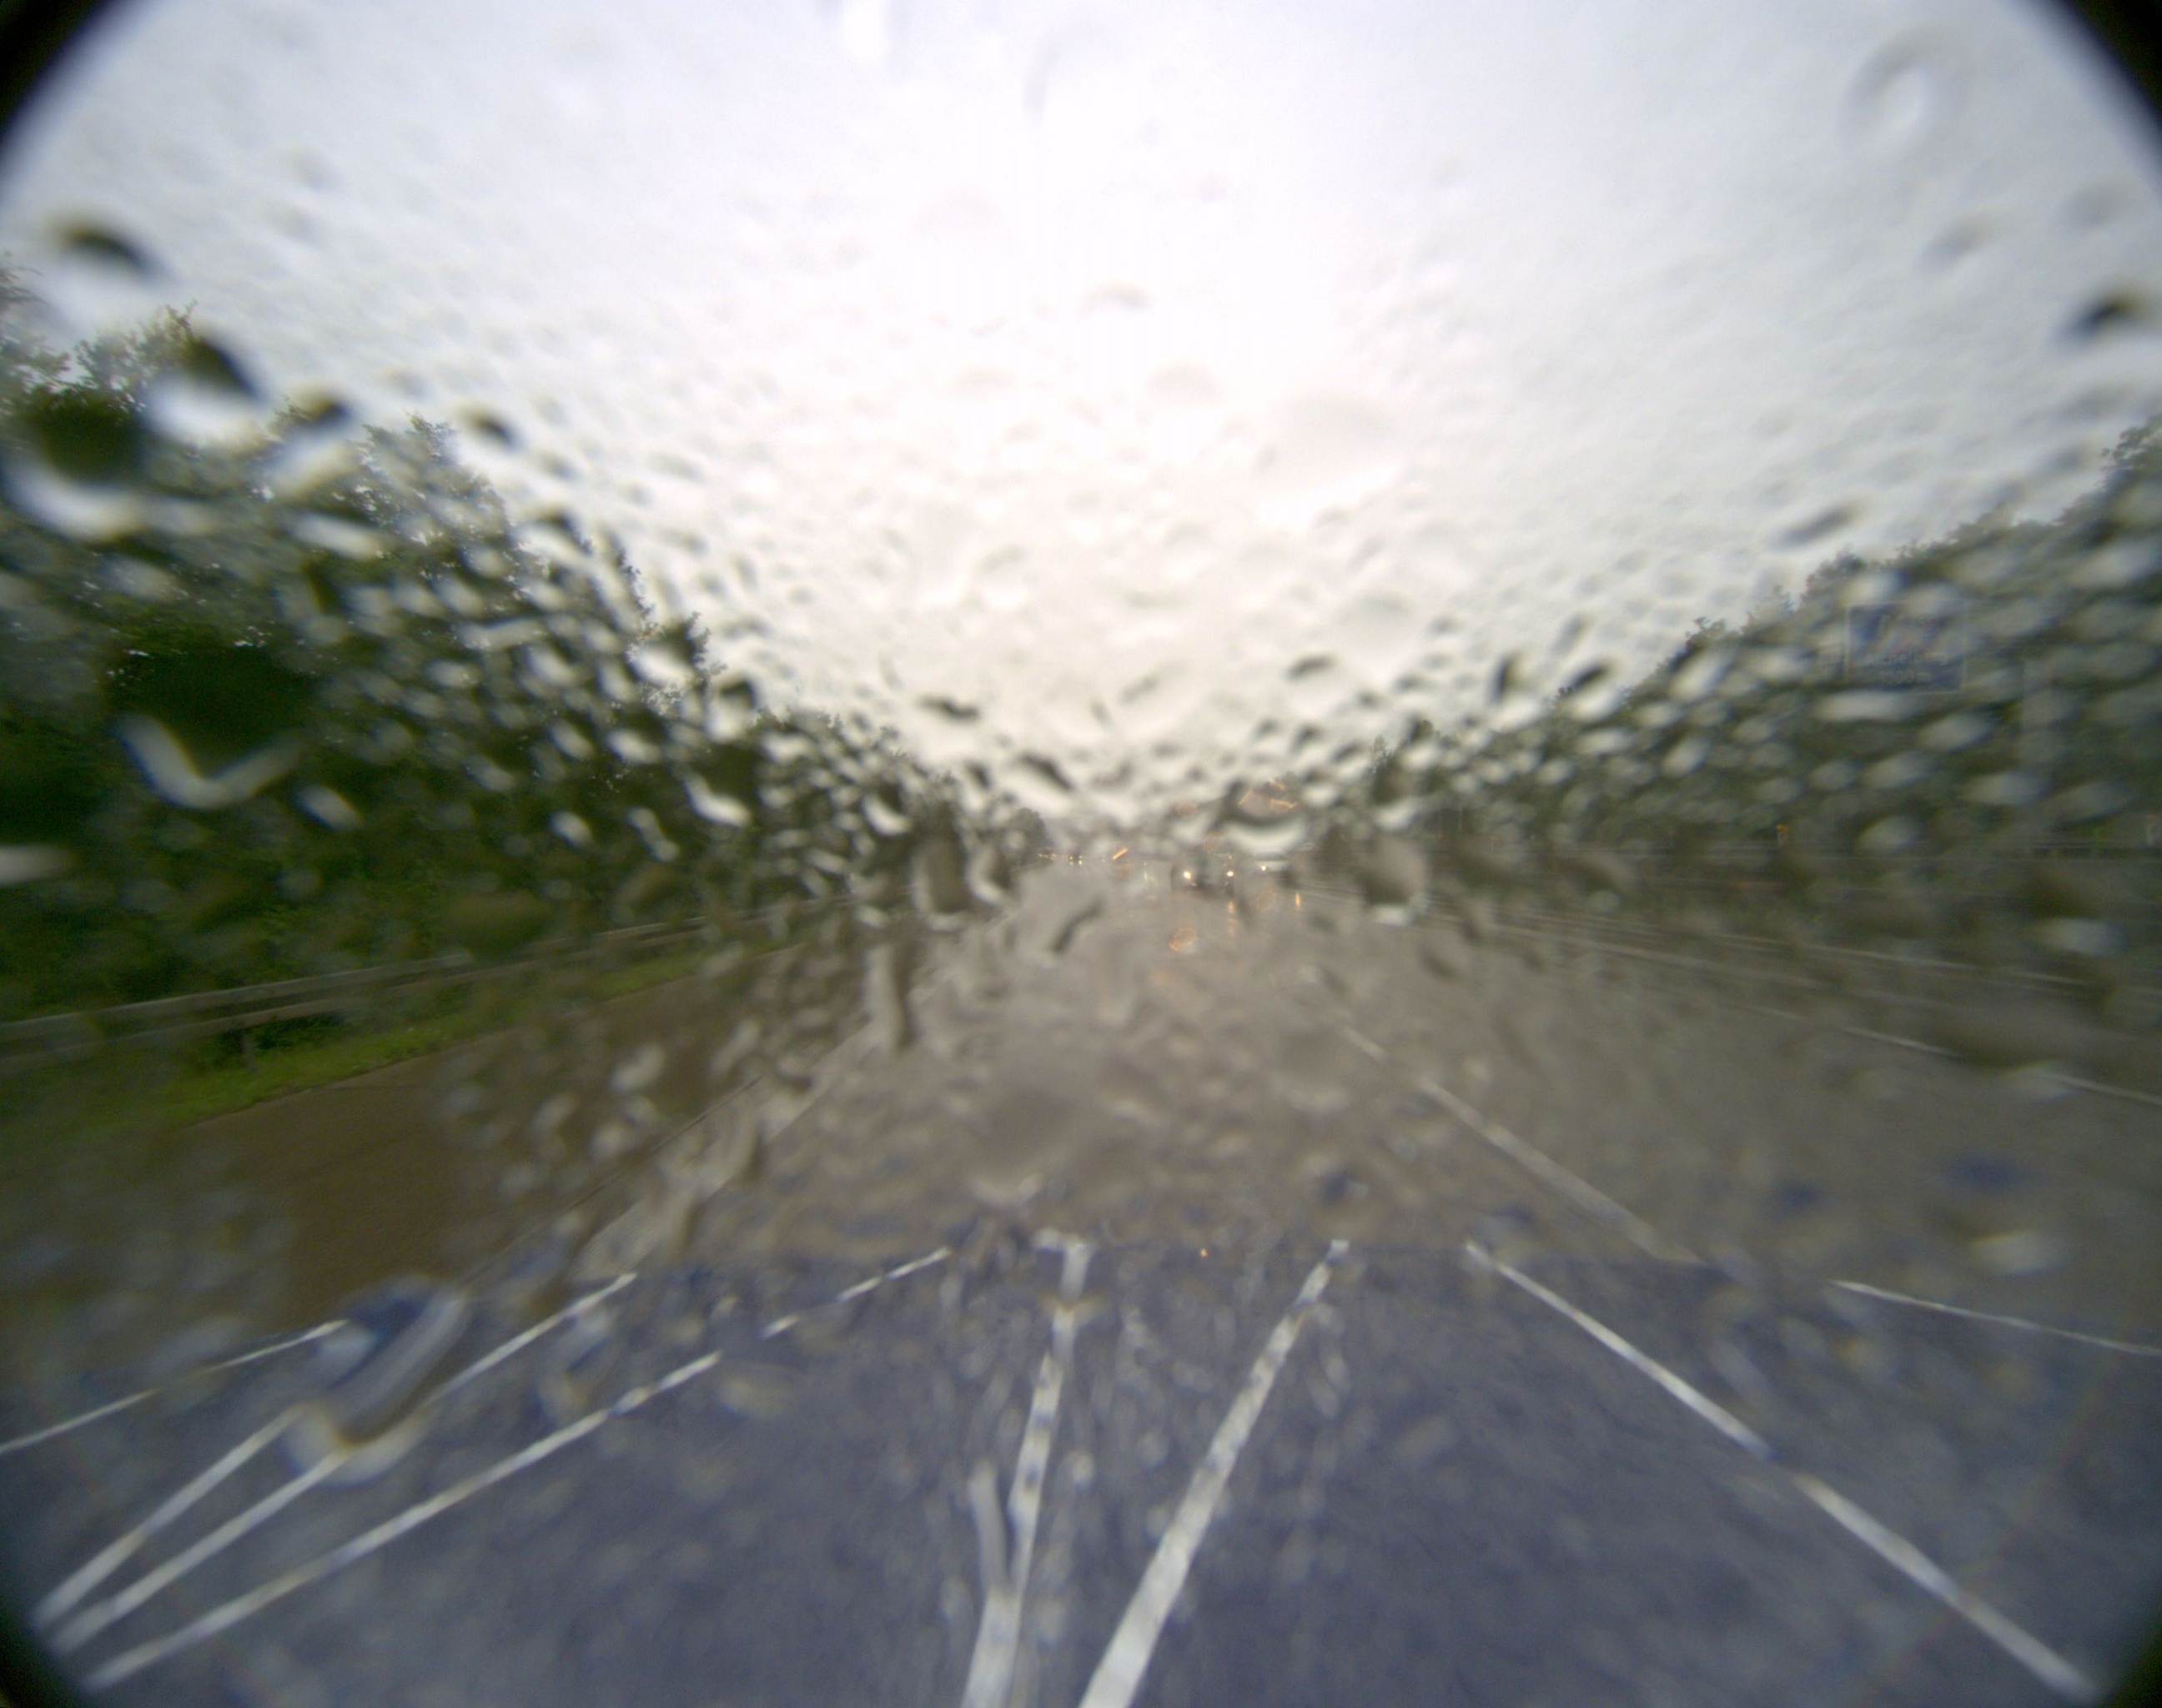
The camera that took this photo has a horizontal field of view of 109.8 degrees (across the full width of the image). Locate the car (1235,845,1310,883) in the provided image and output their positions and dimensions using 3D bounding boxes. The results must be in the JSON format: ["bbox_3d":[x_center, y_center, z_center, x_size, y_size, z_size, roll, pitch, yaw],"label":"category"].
[{"bbox_3d":[7.832,0.358,31.497,1.934,1.426,4.517,-2,1,-1],"label":"car"}]

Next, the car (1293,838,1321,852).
[{"bbox_3d":[24.593,-1.005,82.808,1.671,1.426,4.517,-2,1,0],"label":"car"}]

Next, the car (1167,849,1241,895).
[{"bbox_3d":[4.299,0.580,27.229,1.934,1.426,4.517,-2,1,0],"label":"car"}]

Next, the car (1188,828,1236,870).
[{"bbox_3d":[8.735,-0.353,51.374,2.046,2.616,6.402,-2,1,-1],"label":"car"}]

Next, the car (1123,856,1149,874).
[{"bbox_3d":[4.798,0.909,66.948,1.934,1.426,4.517,-2,1,0],"label":"car"}]

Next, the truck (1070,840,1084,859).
[{"bbox_3d":[-0.885,-0.972,174.493,3.058,3.994,10.044,-2,-2,1],"label":"truck"}]

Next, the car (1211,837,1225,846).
[{"bbox_3d":[24.100,-2.226,133.773,1.671,1.426,4.517,-2,1,0],"label":"car"}]

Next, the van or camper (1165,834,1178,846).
[{"bbox_3d":[23.626,-3.641,198.949,2.562,2.702,7.498,-3,1,1],"label":"van or camper"}]
